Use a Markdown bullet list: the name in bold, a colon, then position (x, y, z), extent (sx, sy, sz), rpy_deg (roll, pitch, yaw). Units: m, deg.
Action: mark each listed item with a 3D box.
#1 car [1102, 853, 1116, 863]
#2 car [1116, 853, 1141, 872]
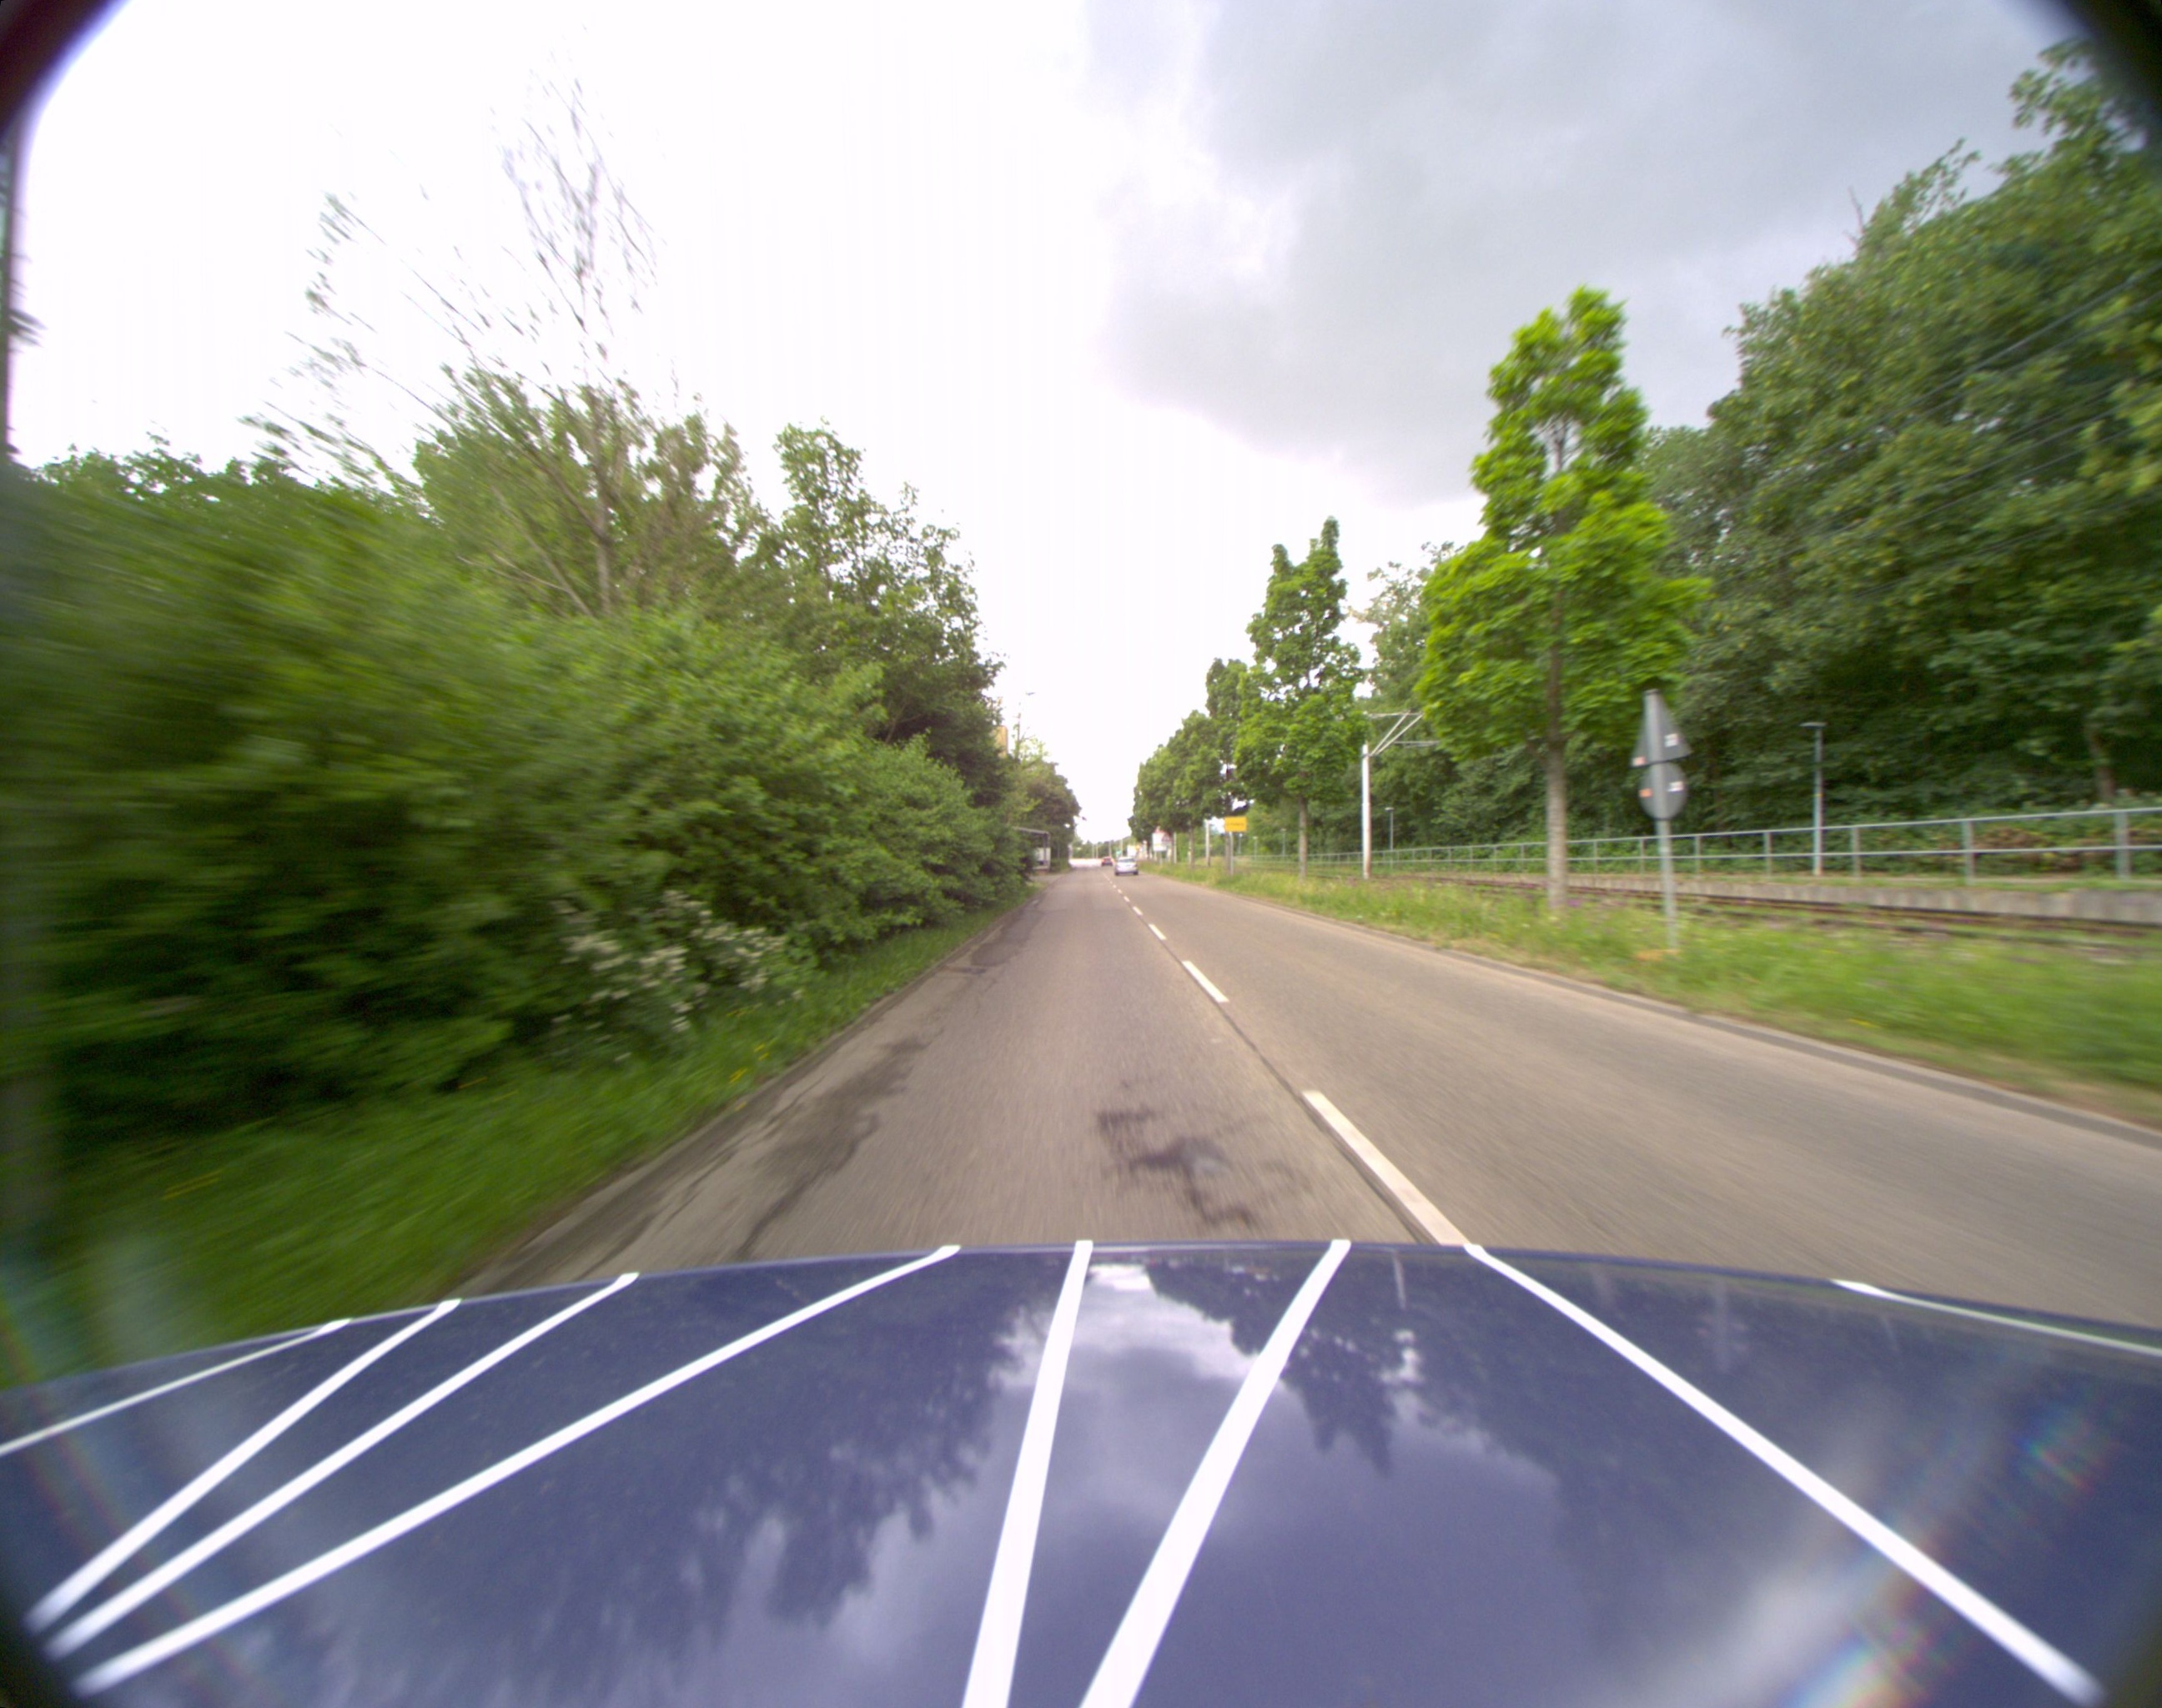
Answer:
- **car**: position (4.480, 0.617, 121.817), extent (2.038, 1.508, 3.654), rpy_deg (-2, 0, 1)
- **car**: position (3.804, 0.662, 61.154), extent (1.778, 1.460, 4.242), rpy_deg (-2, 0, 1)
